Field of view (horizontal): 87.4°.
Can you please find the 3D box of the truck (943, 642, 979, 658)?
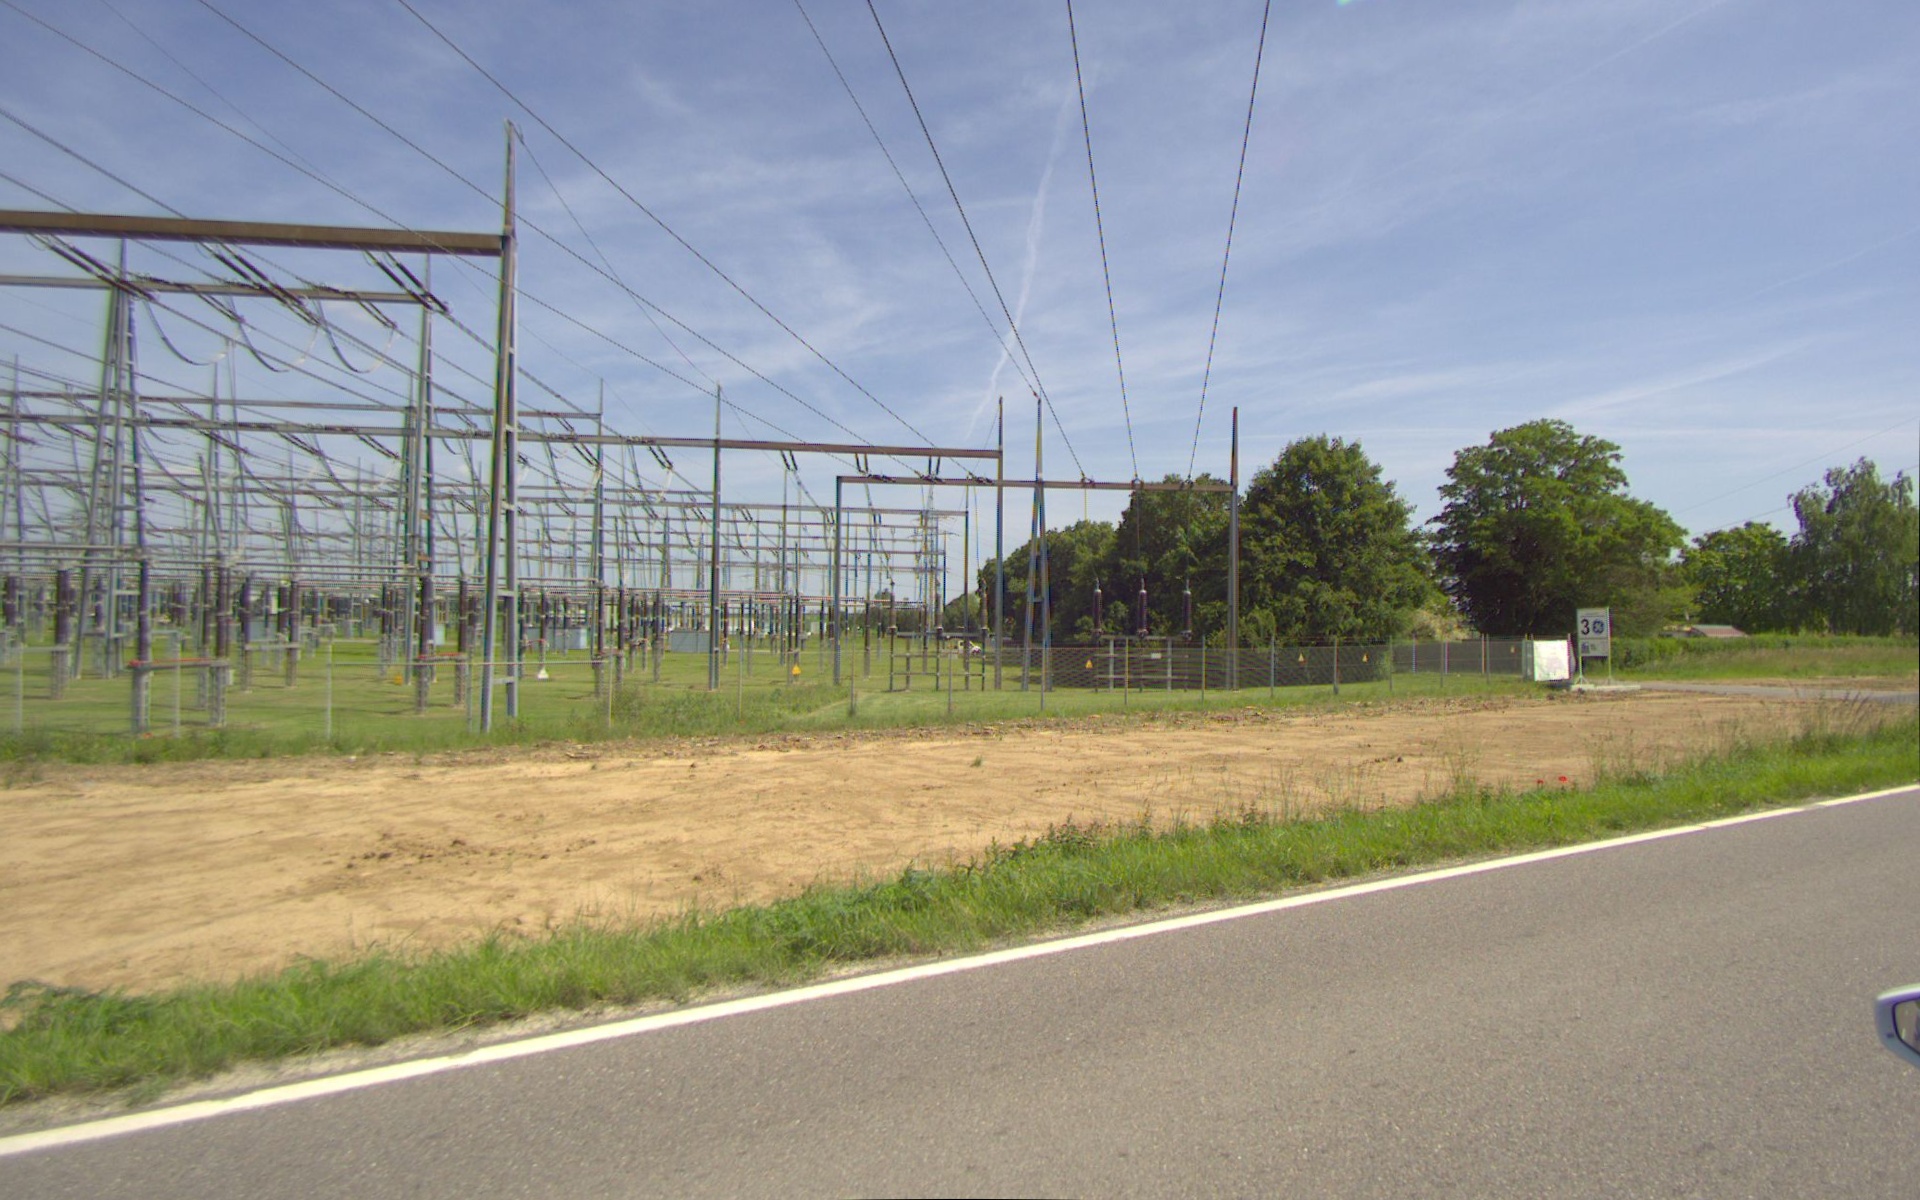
[{"bbox_3d":[0.096,6.693,134.269,4.705,1.996,1.868,2,0,-5],"label":"truck"}]
